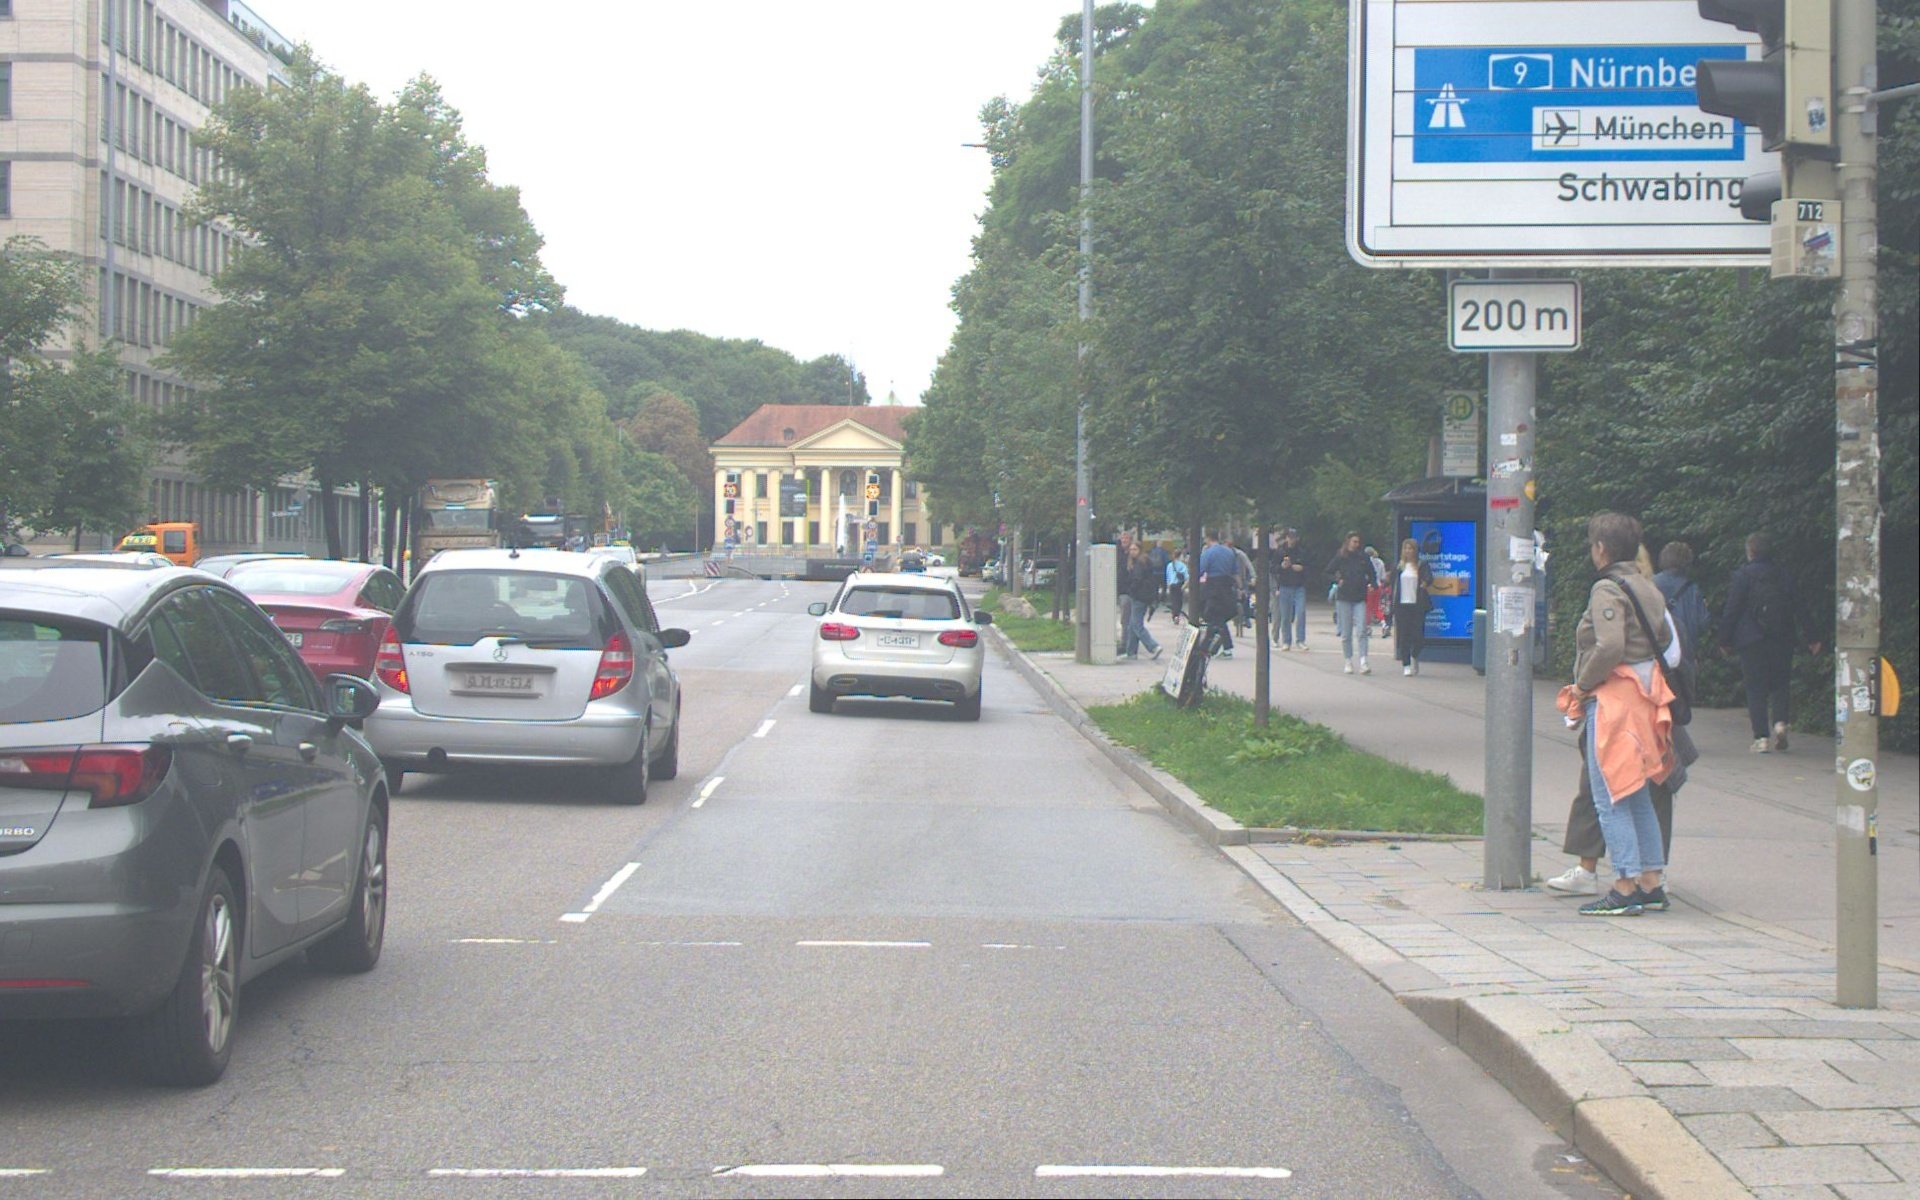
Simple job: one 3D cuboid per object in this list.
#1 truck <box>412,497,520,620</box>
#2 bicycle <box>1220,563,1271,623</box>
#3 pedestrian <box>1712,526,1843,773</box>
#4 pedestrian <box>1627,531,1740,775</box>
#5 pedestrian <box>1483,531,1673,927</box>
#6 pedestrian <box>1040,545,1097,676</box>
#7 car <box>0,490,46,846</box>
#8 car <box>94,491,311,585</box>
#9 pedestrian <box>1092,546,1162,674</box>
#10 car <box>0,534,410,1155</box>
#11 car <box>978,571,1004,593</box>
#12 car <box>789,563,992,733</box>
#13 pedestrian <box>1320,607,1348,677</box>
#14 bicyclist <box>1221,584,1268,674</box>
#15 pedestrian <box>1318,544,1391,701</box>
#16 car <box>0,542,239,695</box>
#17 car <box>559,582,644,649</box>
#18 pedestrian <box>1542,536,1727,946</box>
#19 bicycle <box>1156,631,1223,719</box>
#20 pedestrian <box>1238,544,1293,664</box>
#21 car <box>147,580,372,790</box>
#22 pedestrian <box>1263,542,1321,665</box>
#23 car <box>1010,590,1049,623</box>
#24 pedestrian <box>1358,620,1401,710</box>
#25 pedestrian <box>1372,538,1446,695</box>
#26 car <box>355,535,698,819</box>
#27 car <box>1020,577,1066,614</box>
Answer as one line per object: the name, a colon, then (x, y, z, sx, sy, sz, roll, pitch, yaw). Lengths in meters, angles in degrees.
truck: (-16.089, -1.357, 112.446, 2.915, 3.762, 7.667, 2, 0, -5)
bicycle: (5.019, -0.130, 60.579, 0.675, 1.027, 2.013, 2, 0, -1)
pedestrian: (6.219, 0.368, 26.197, 0.751, 1.832, 0.756, 2, 0, 0)
pedestrian: (5.552, 0.398, 26.411, 0.671, 1.832, 0.641, 2, 0, 0)
pedestrian: (2.811, 0.577, 15.682, 0.624, 1.755, 0.636, 2, 0, -8)
pedestrian: (1.525, 0.142, 48.413, 0.708, 1.802, 0.639, 2, 0, -1)
car: (-5.878, 0.351, 16.189, 1.898, 1.841, 4.956, 1, 0, -1)
car: (-21.258, -1.732, 96.685, 5.679, 2.528, 2.157, 1, 1, -4)
pedestrian: (2.485, 0.148, 51.264, 0.805, 1.874, 0.543, 2, 0, 36)
car: (-2.865, 0.575, 10.646, 1.710, 1.547, 4.000, 2, 1, -1)
car: (2.063, -1.240, 230.965, 1.724, 1.319, 4.028, 1, 2, 0)
car: (-0.797, 0.459, 36.498, 1.779, 1.639, 4.001, 2, 1, -6)
pedestrian: (7.193, 0.798, 66.105, 0.458, 1.322, 0.648, 2, 0, 4)
bicyclist: (5.016, 0.510, 60.645, 0.708, 1.556, 0.639, 2, 1, -1)
pedestrian: (4.896, 0.273, 42.697, 0.708, 1.909, 0.956, 2, 0, -1)
car: (-8.623, 0.150, 34.507, 1.767, 1.418, 4.747, -1, 1, 0)
car: (-9.890, 0.399, 95.178, 1.857, 1.742, 4.630, -1, 1, 0)
pedestrian: (2.944, 0.602, 15.046, 0.608, 1.755, 0.636, 0, 1, -7)
bicycle: (2.260, 0.727, 33.930, 0.493, 0.791, 1.890, 2, 1, 0)
pedestrian: (4.692, 0.060, 52.779, 0.708, 1.802, 0.639, 2, 0, -1)
car: (-6.176, 0.698, 30.499, 1.779, 1.648, 4.001, 2, 1, -11)
pedestrian: (4.979, 0.046, 51.608, 0.708, 1.802, 0.950, 2, 0, -1)
car: (3.190, 0.293, 158.452, 1.724, 1.459, 4.776, 0, 0, 0)
pedestrian: (8.005, 1.237, 65.667, 0.726, 1.685, 0.648, 2, 0, 5)
pedestrian: (5.577, 0.200, 42.750, 0.708, 1.909, 0.956, 2, 0, -1)
car: (-2.763, 0.446, 22.713, 1.779, 1.648, 4.000, 2, 1, -1)
car: (3.512, -0.206, 146.378, 1.827, 1.544, 4.751, 0, 0, 0)
